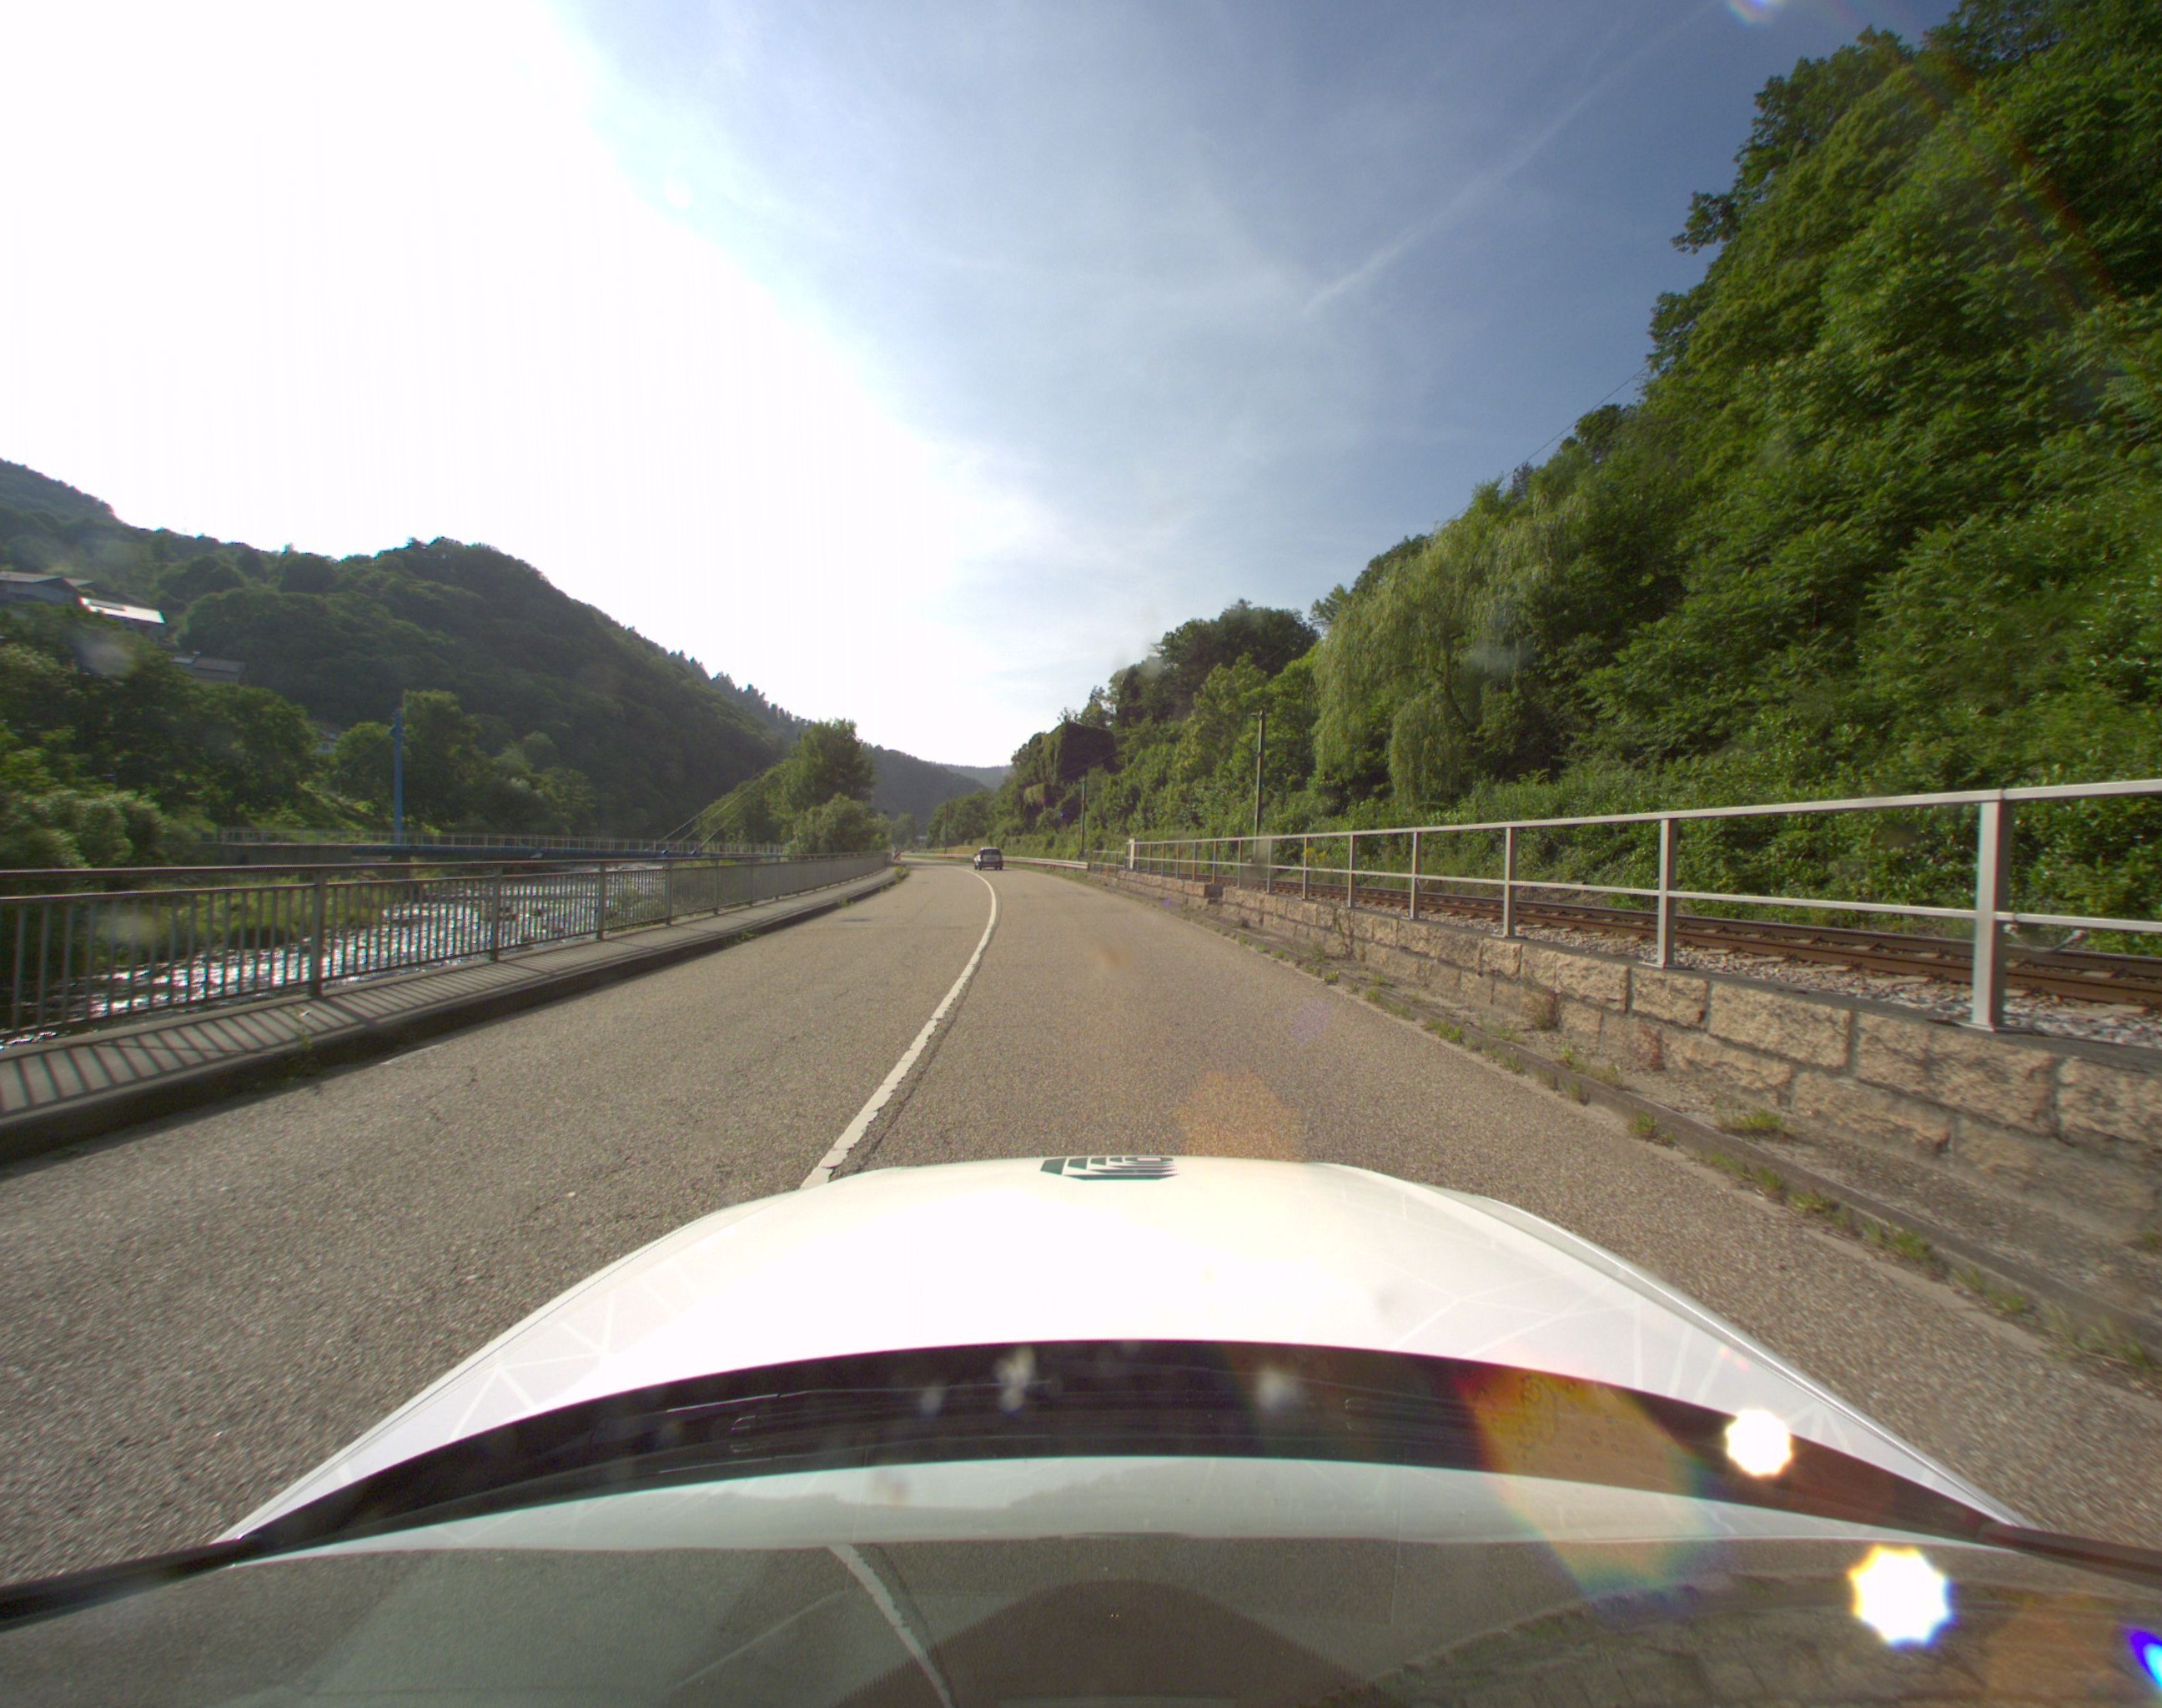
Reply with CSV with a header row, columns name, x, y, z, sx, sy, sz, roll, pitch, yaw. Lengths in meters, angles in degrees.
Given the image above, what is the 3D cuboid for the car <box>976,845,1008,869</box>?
name,x,y,z,sx,sy,sz,roll,pitch,yaw
car,-6.579,0.202,60.071,1.875,1.656,3.981,0,0,-14
